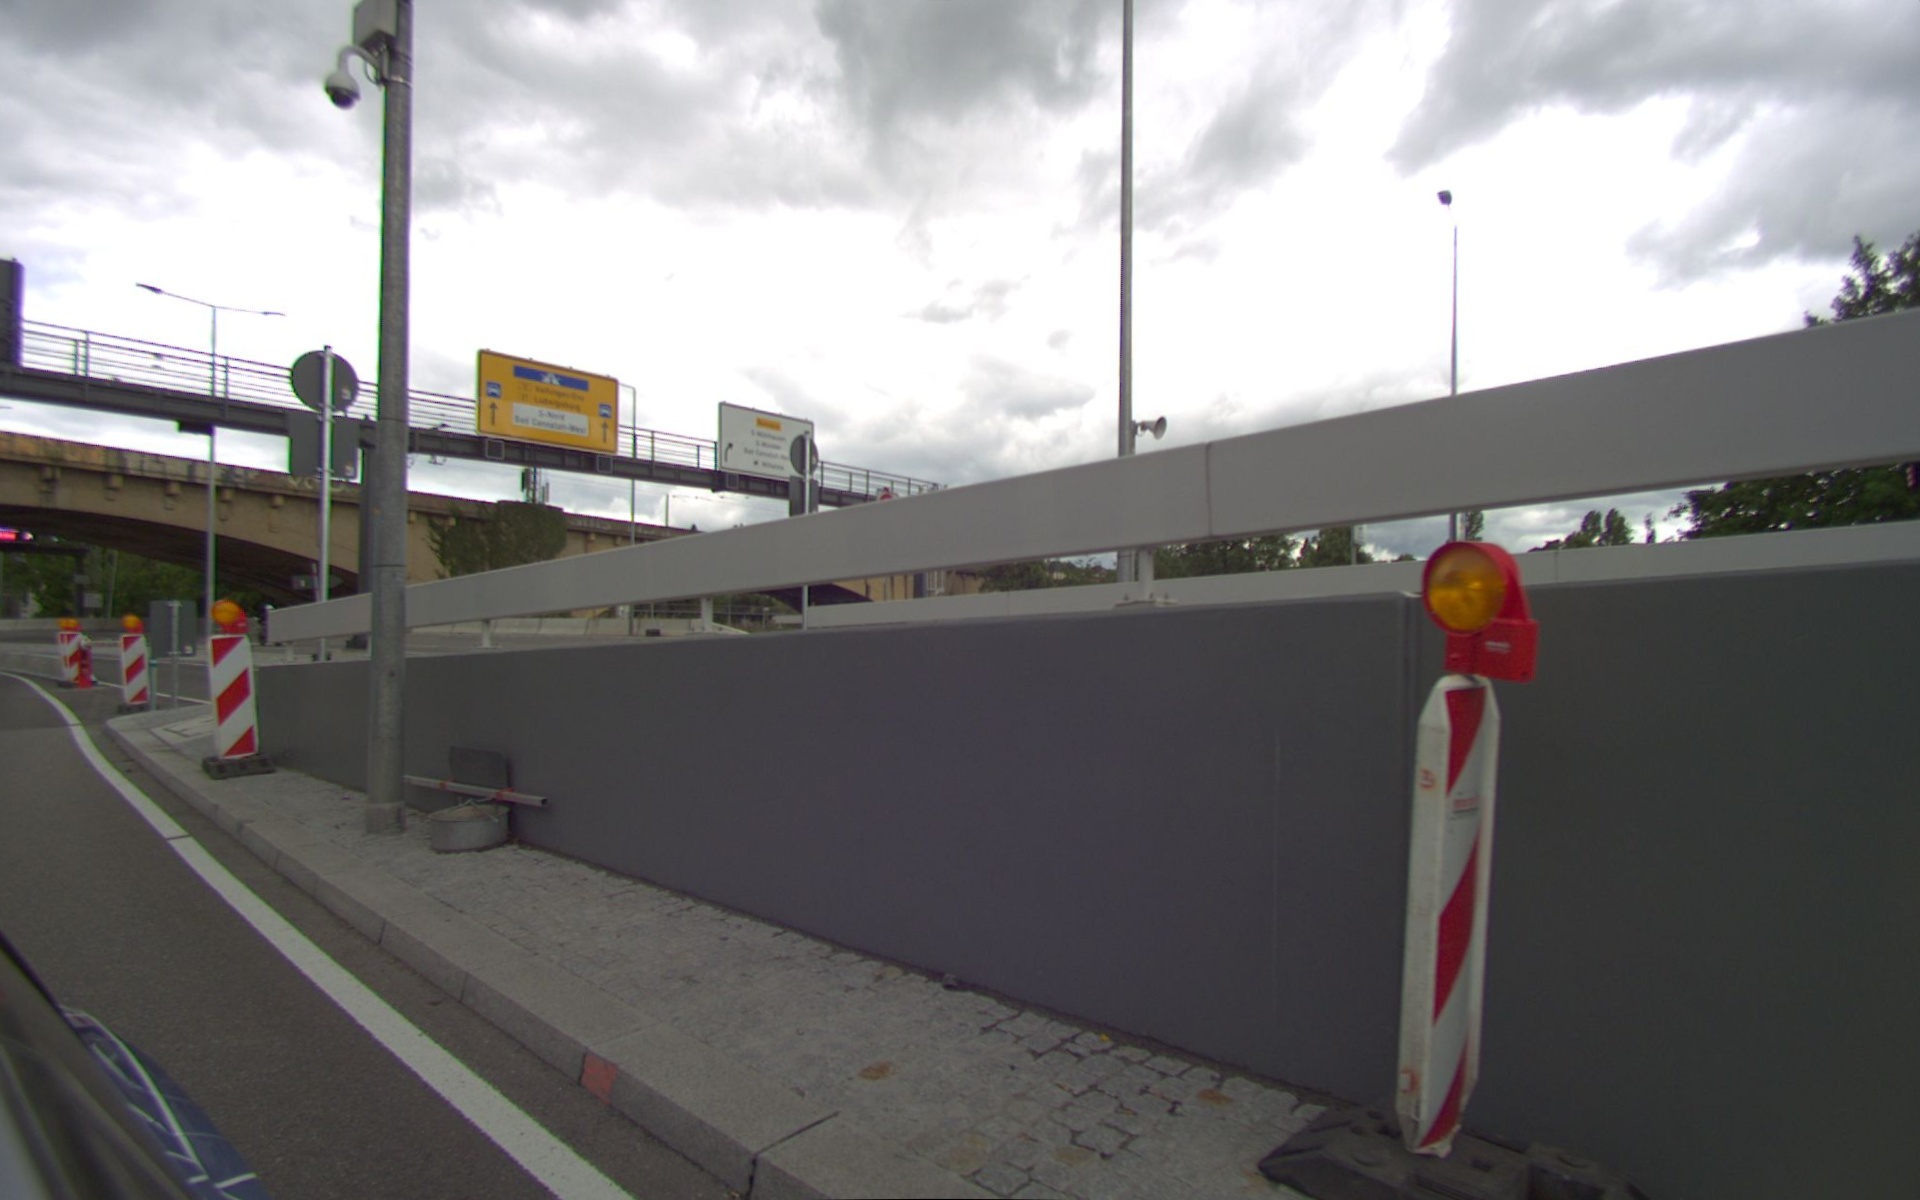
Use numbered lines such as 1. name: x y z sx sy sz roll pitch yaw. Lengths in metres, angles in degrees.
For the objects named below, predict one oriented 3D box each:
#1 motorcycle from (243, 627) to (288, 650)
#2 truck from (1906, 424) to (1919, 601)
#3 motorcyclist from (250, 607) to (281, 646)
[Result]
1. motorcycle: -29.304 1.636 42.705 2.386 0.924 0.660 -2 -1 32
2. truck: 20.786 -1.627 14.148 10.602 3.415 2.707 -5 -1 38
3. motorcyclist: -29.312 1.112 42.709 1.099 1.618 0.660 -2 -1 32
